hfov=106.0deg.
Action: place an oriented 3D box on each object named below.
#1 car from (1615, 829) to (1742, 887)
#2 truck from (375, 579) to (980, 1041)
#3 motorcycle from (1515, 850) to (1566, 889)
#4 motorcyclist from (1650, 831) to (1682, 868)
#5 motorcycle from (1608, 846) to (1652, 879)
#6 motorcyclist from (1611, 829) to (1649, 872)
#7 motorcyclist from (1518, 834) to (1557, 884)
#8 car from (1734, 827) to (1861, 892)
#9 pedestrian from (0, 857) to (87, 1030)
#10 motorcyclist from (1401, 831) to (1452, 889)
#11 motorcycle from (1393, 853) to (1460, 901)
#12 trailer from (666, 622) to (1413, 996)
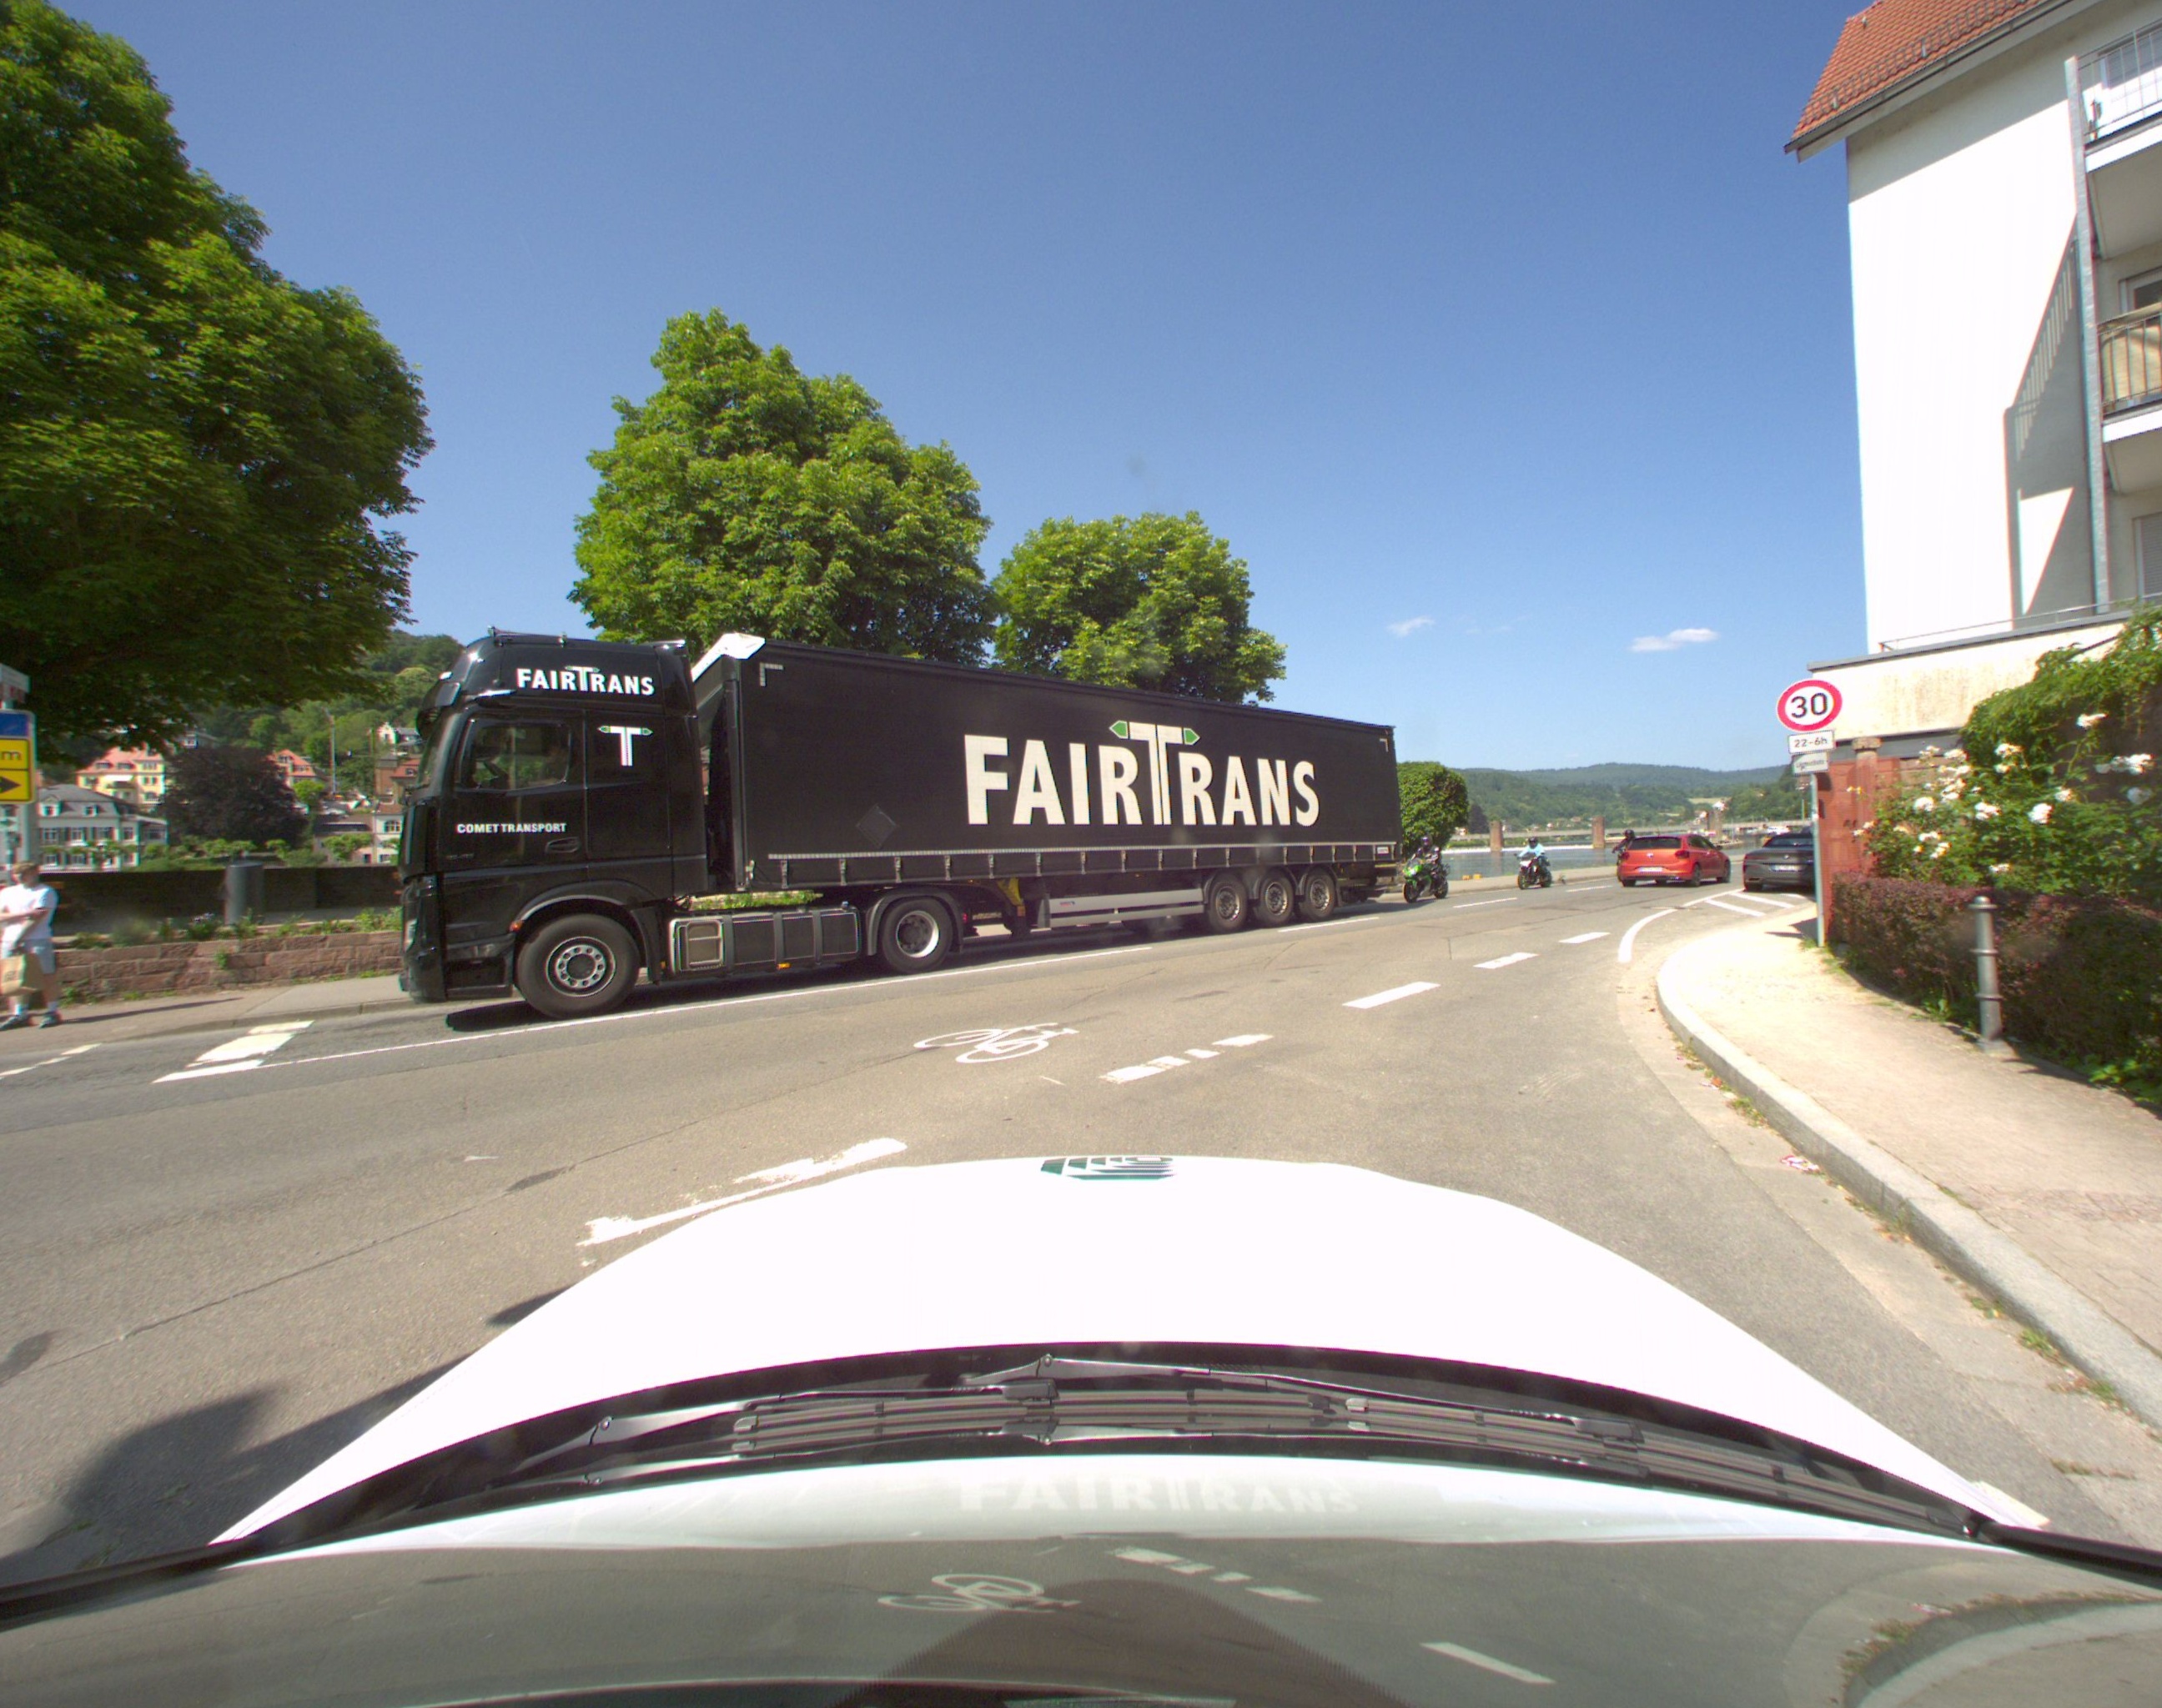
[{"bbox_3d":[16.481,0.088,22.404,4.036,1.405,1.711,-2,0,-37],"label":"car"},{"bbox_3d":[-4.641,-0.409,10.094,5.961,4.071,2.807,-2,-2,-38],"label":"truck"},{"bbox_3d":[14.628,0.478,25.899,2.103,1.123,0.628,-2,-3,-39],"label":"motorcycle"},{"bbox_3d":[22.393,-0.188,31.158,0.941,1.366,0.711,-2,-1,-39],"label":"motorcyclist"},{"bbox_3d":[18.139,0.276,26.899,1.824,1.024,0.651,-2,-1,-39],"label":"motorcycle"},{"bbox_3d":[18.070,-0.112,26.820,0.804,1.366,0.780,-2,-1,-39],"label":"motorcyclist"},{"bbox_3d":[14.472,0.151,25.809,0.996,1.525,0.658,-2,-2,-39],"label":"motorcyclist"},{"bbox_3d":[17.030,0.099,19.304,3.759,1.399,1.673,-2,0,-40],"label":"car"},{"bbox_3d":[-11.459,0.955,8.877,0.709,1.802,0.572,-1,-1,-44],"label":"pedestrian"},{"bbox_3d":[9.009,0.152,21.241,0.996,1.460,0.772,-2,-2,-39],"label":"motorcyclist"},{"bbox_3d":[9.024,0.587,21.224,2.103,1.123,0.628,-2,-3,-39],"label":"motorcycle"},{"bbox_3d":[0.702,-0.631,14.303,13.839,4.104,2.810,-2,-2,-38],"label":"trailer"}]
